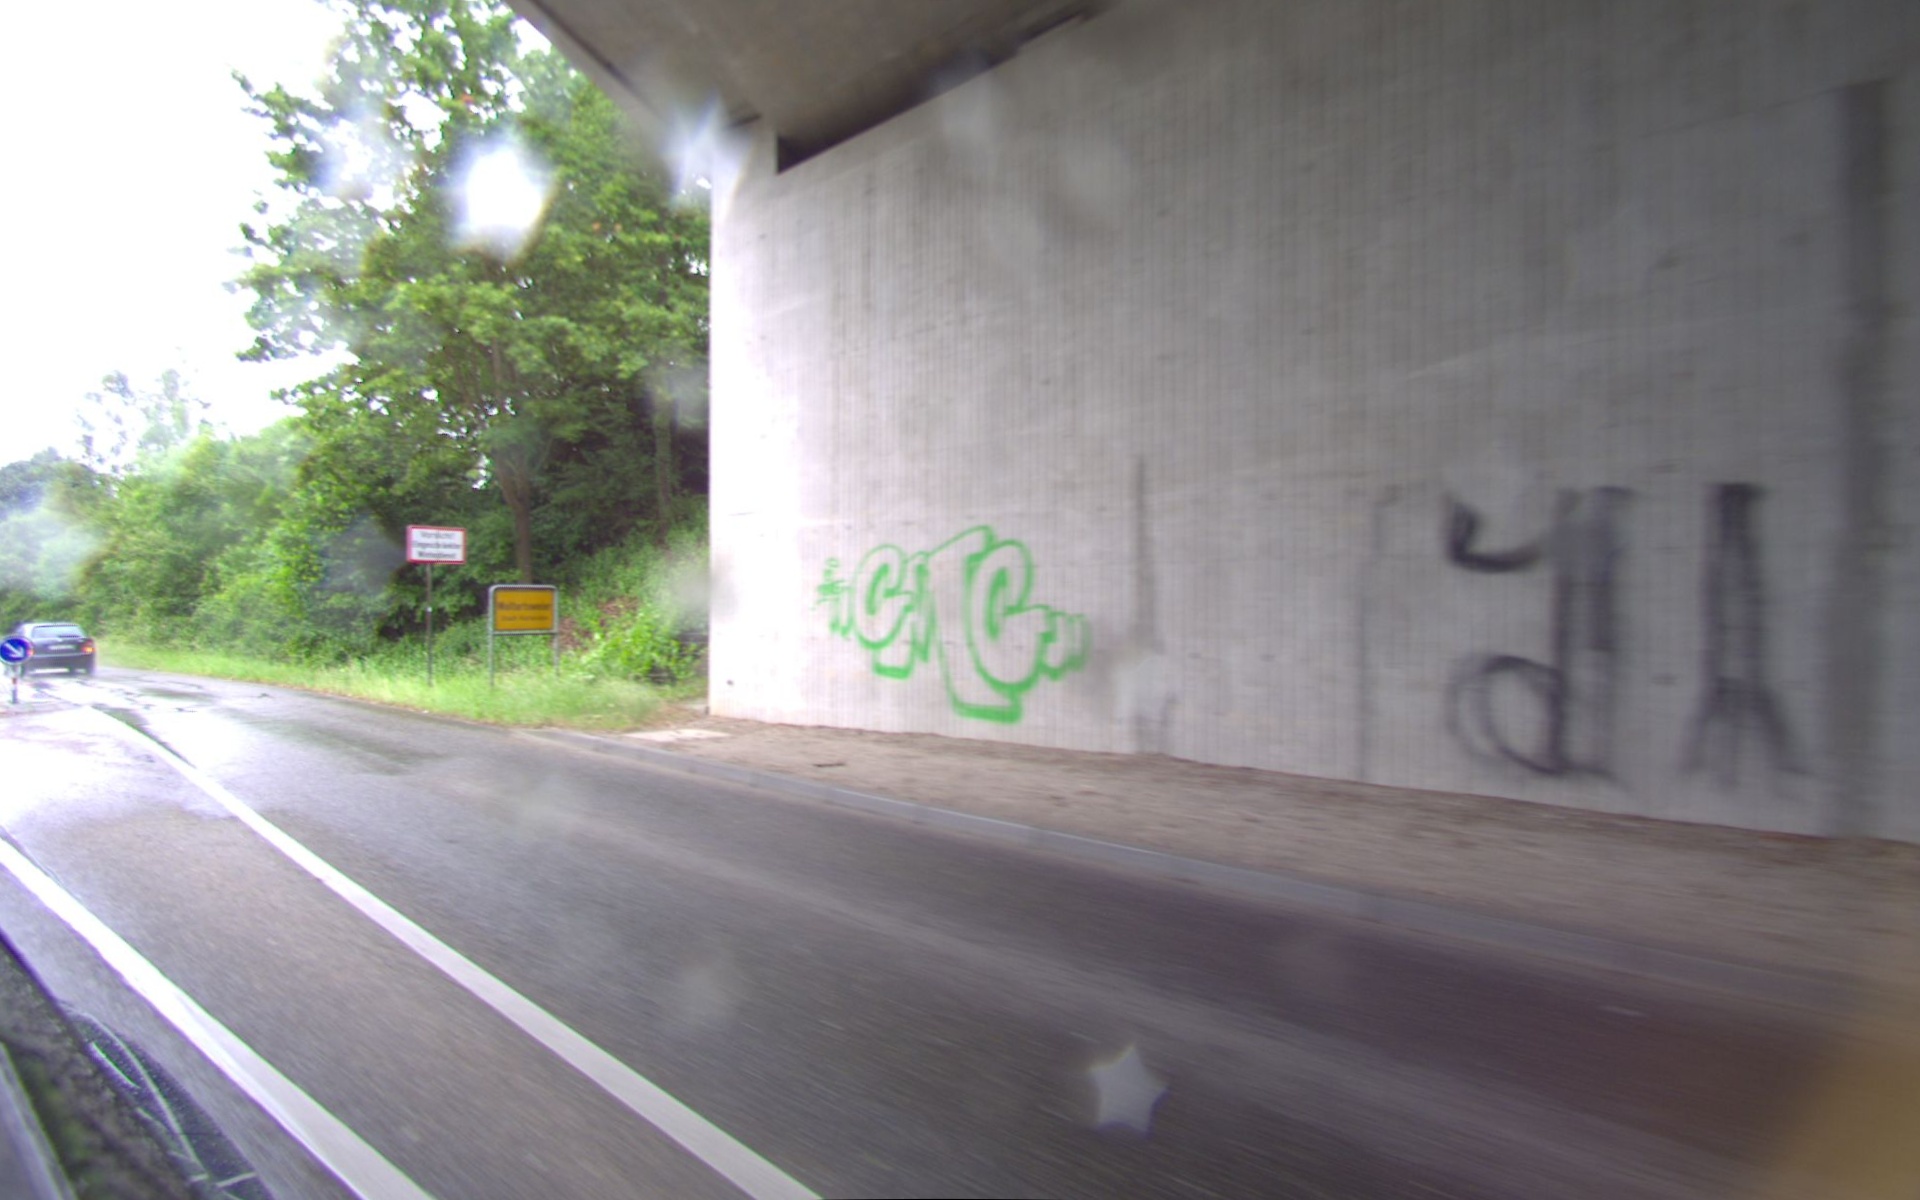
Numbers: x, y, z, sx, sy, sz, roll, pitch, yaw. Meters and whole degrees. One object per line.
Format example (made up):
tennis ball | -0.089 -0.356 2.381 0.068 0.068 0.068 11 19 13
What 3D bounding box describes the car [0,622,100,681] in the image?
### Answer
car | -25.551 1.386 28.278 4.069 1.498 1.673 -1 0 40
